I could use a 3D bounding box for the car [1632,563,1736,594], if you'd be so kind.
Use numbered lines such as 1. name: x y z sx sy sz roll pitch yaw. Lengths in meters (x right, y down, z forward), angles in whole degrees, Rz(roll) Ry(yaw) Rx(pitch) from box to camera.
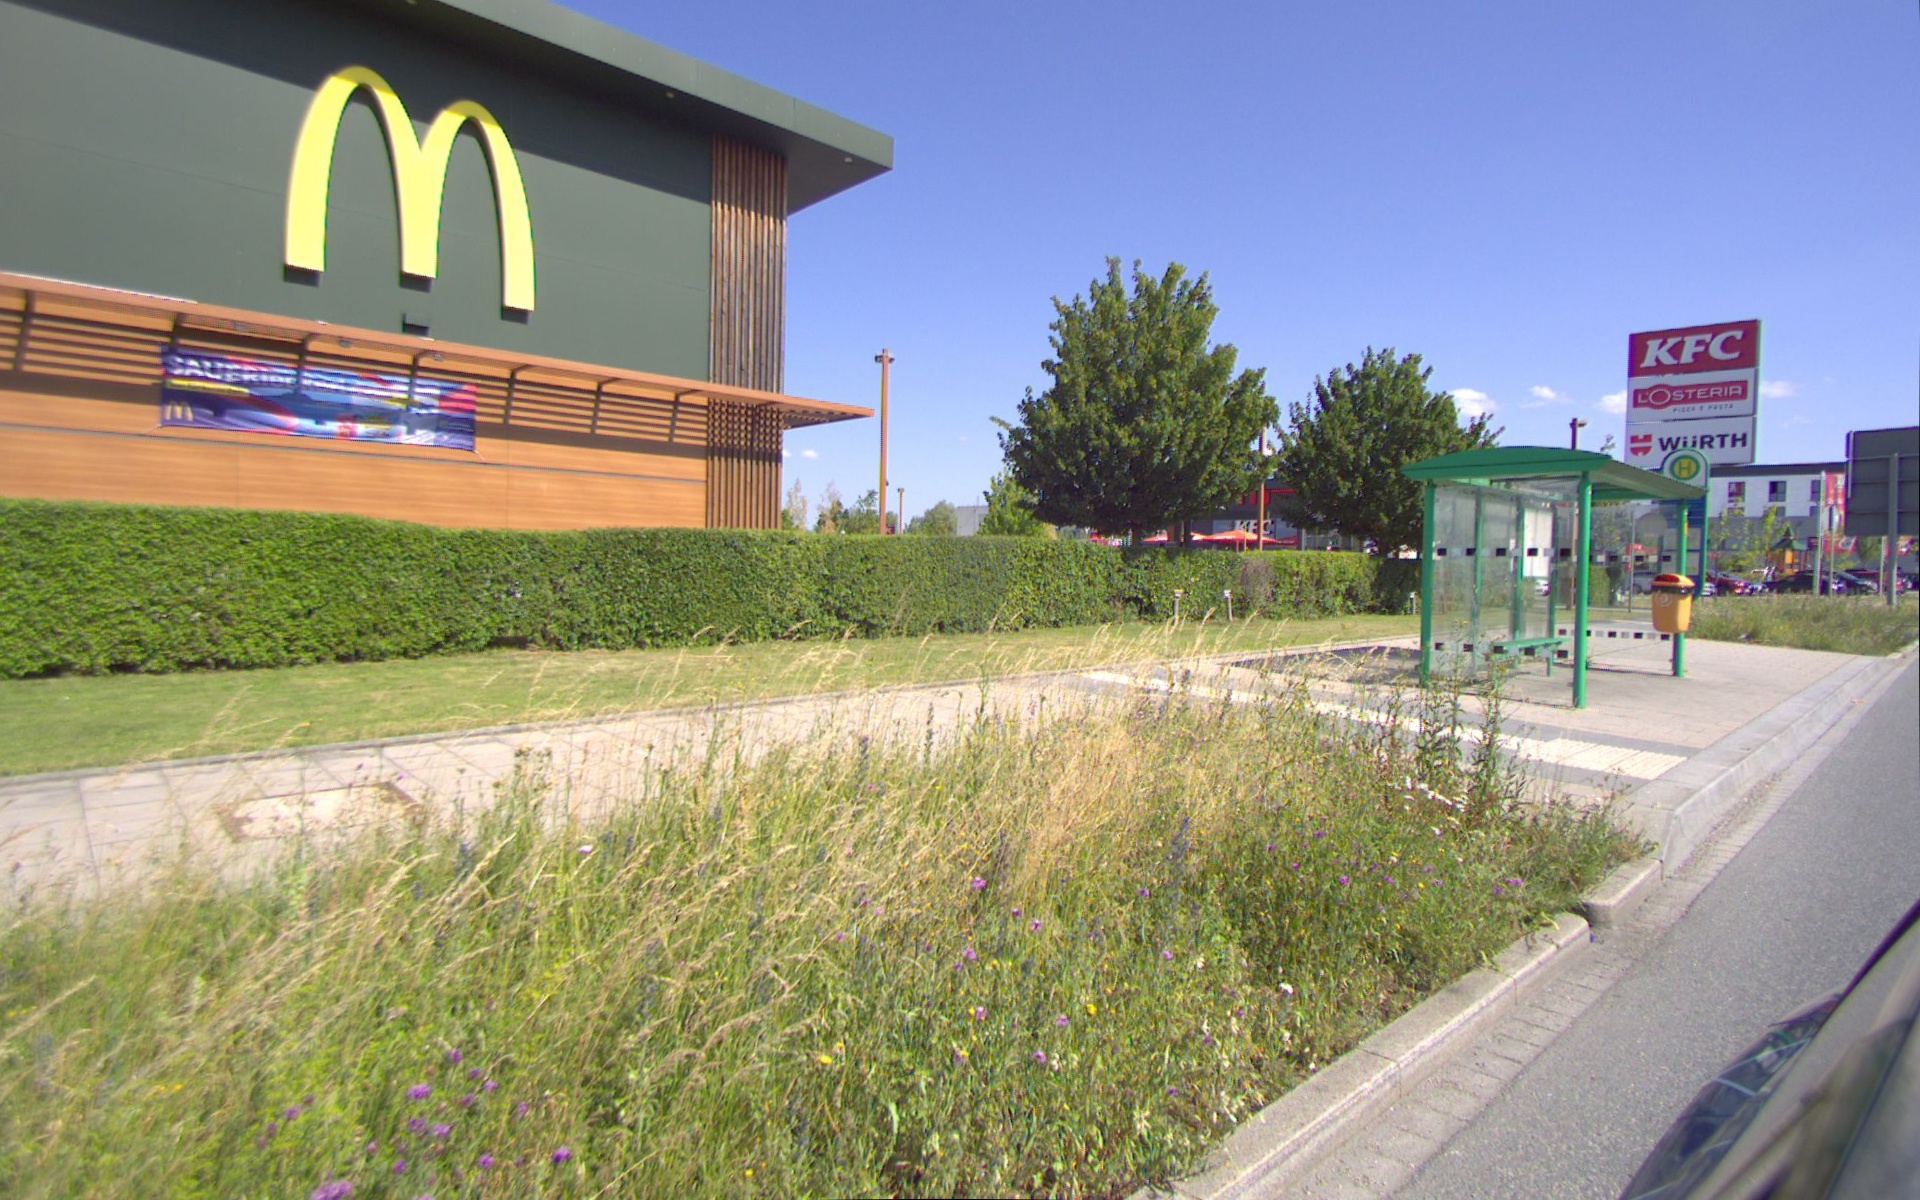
1. car: 41.255 -1.247 57.769 1.897 1.673 4.444 0 2 -36

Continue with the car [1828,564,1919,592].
1. car: 61.012 -1.512 67.613 1.786 1.783 4.196 0 2 -25

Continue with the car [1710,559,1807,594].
1. car: 48.210 -1.443 61.182 1.894 2.038 4.194 0 2 -29

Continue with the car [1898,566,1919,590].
1. car: 67.322 -1.512 69.507 1.721 1.639 3.831 0 2 -29

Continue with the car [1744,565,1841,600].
1. car: 51.473 -1.109 62.638 1.894 2.038 4.194 0 2 -28

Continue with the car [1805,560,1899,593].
1. car: 58.218 -1.566 66.125 1.895 2.038 4.193 0 2 -30

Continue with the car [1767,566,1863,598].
1. car: 53.950 -1.176 63.944 1.766 1.880 4.196 0 2 -24

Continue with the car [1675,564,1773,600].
1. car: 45.286 -1.079 60.041 1.894 2.038 4.194 0 2 -27
